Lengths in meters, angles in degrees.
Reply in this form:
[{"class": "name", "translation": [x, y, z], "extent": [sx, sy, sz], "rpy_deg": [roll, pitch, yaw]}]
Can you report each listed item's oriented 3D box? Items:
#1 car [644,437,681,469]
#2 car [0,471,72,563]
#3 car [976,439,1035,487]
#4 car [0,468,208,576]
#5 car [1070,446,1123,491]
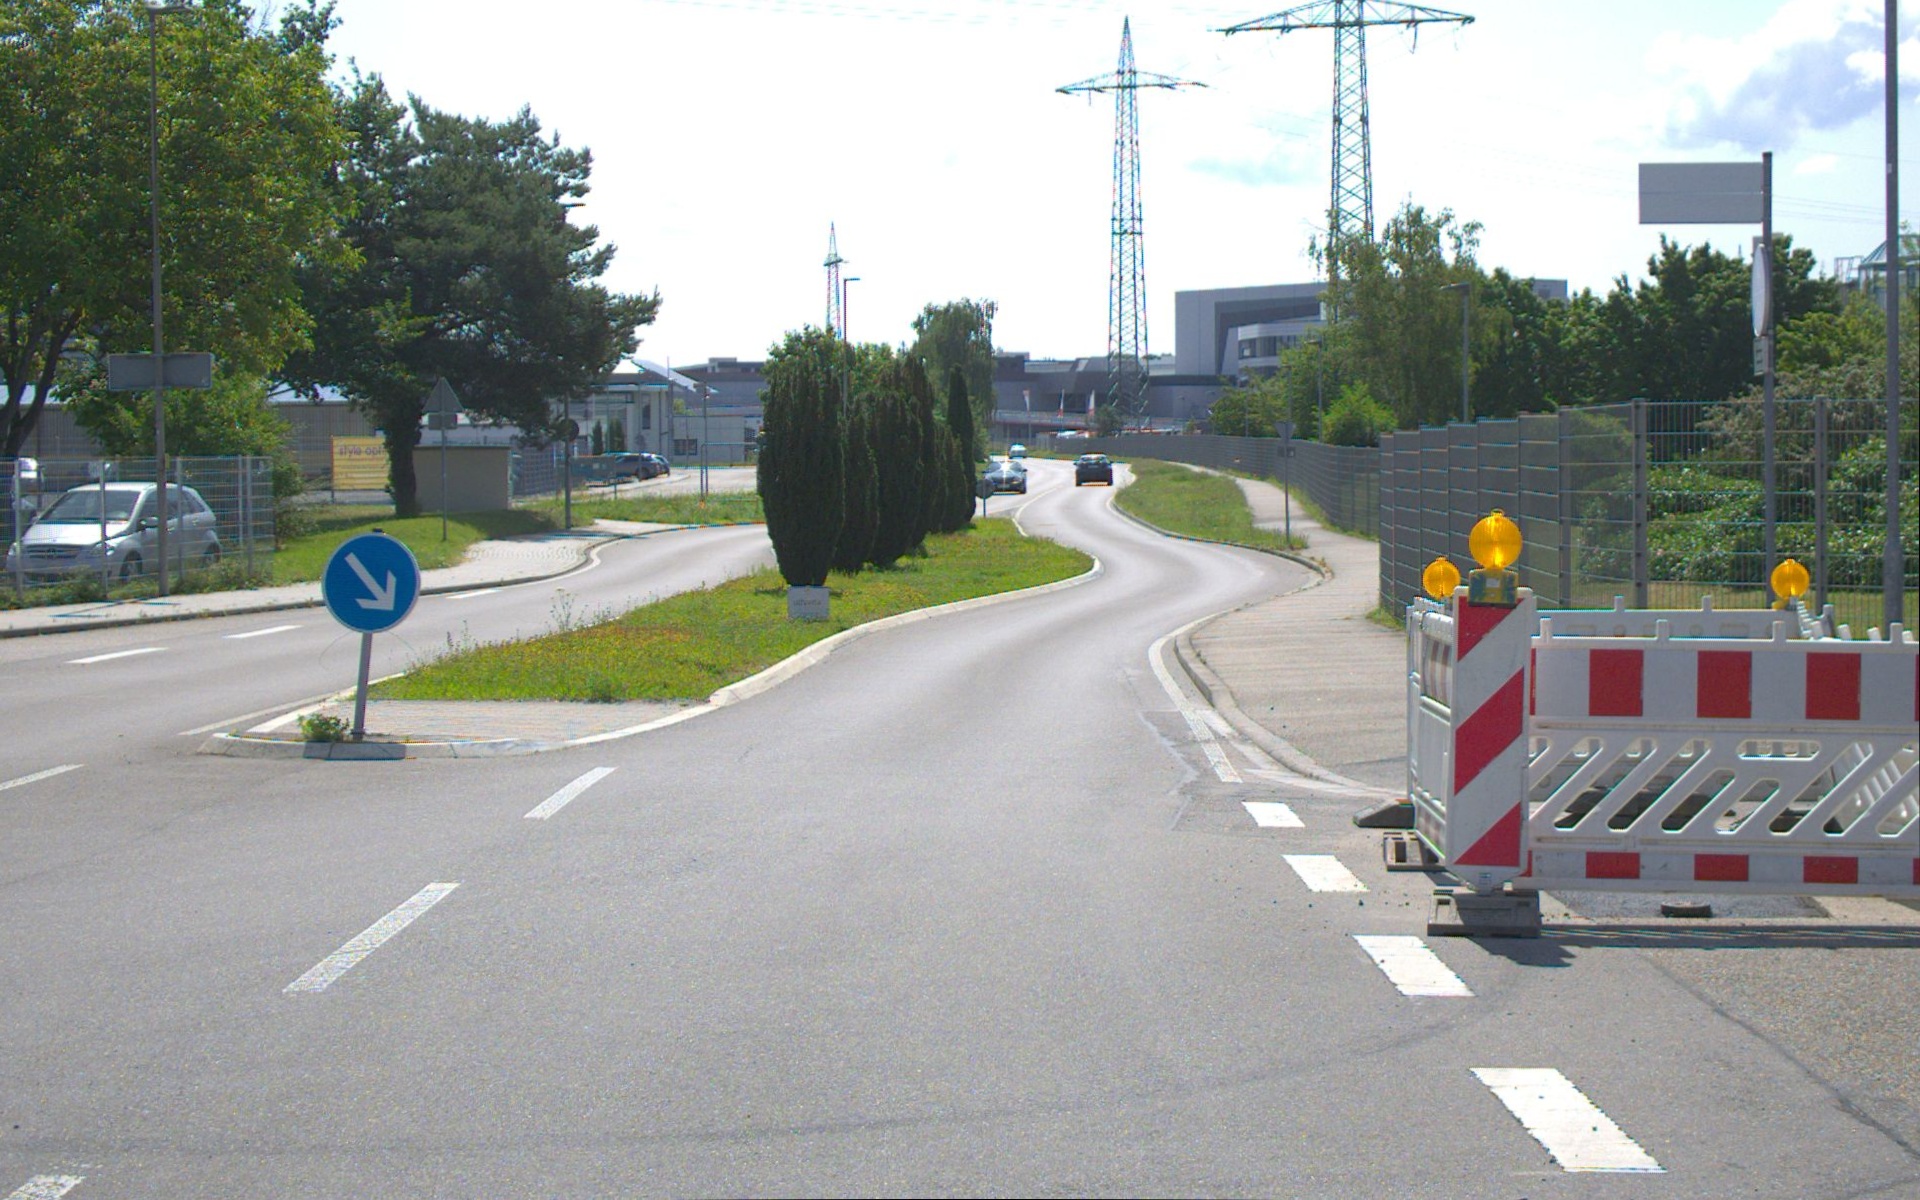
[{"class": "car", "translation": [-19.083, -9.397, 220.669], "extent": [1.993, 2.006, 4.000], "rpy_deg": [0, 2, 1]}, {"class": "car", "translation": [-20.258, -1.699, 70.343], "extent": [3.986, 1.844, 1.835], "rpy_deg": [-1, 2, -13]}, {"class": "car", "translation": [2.020, -6.092, 152.501], "extent": [2.490, 2.006, 4.666], "rpy_deg": [0, 3, -1]}, {"class": "car", "translation": [-12.580, -1.157, 50.075], "extent": [1.829, 1.512, 3.587], "rpy_deg": [0, 2, 12]}, {"class": "car", "translation": [6.732, -6.472, 169.839], "extent": [2.271, 1.940, 4.665], "rpy_deg": [3, 0, 0]}]
